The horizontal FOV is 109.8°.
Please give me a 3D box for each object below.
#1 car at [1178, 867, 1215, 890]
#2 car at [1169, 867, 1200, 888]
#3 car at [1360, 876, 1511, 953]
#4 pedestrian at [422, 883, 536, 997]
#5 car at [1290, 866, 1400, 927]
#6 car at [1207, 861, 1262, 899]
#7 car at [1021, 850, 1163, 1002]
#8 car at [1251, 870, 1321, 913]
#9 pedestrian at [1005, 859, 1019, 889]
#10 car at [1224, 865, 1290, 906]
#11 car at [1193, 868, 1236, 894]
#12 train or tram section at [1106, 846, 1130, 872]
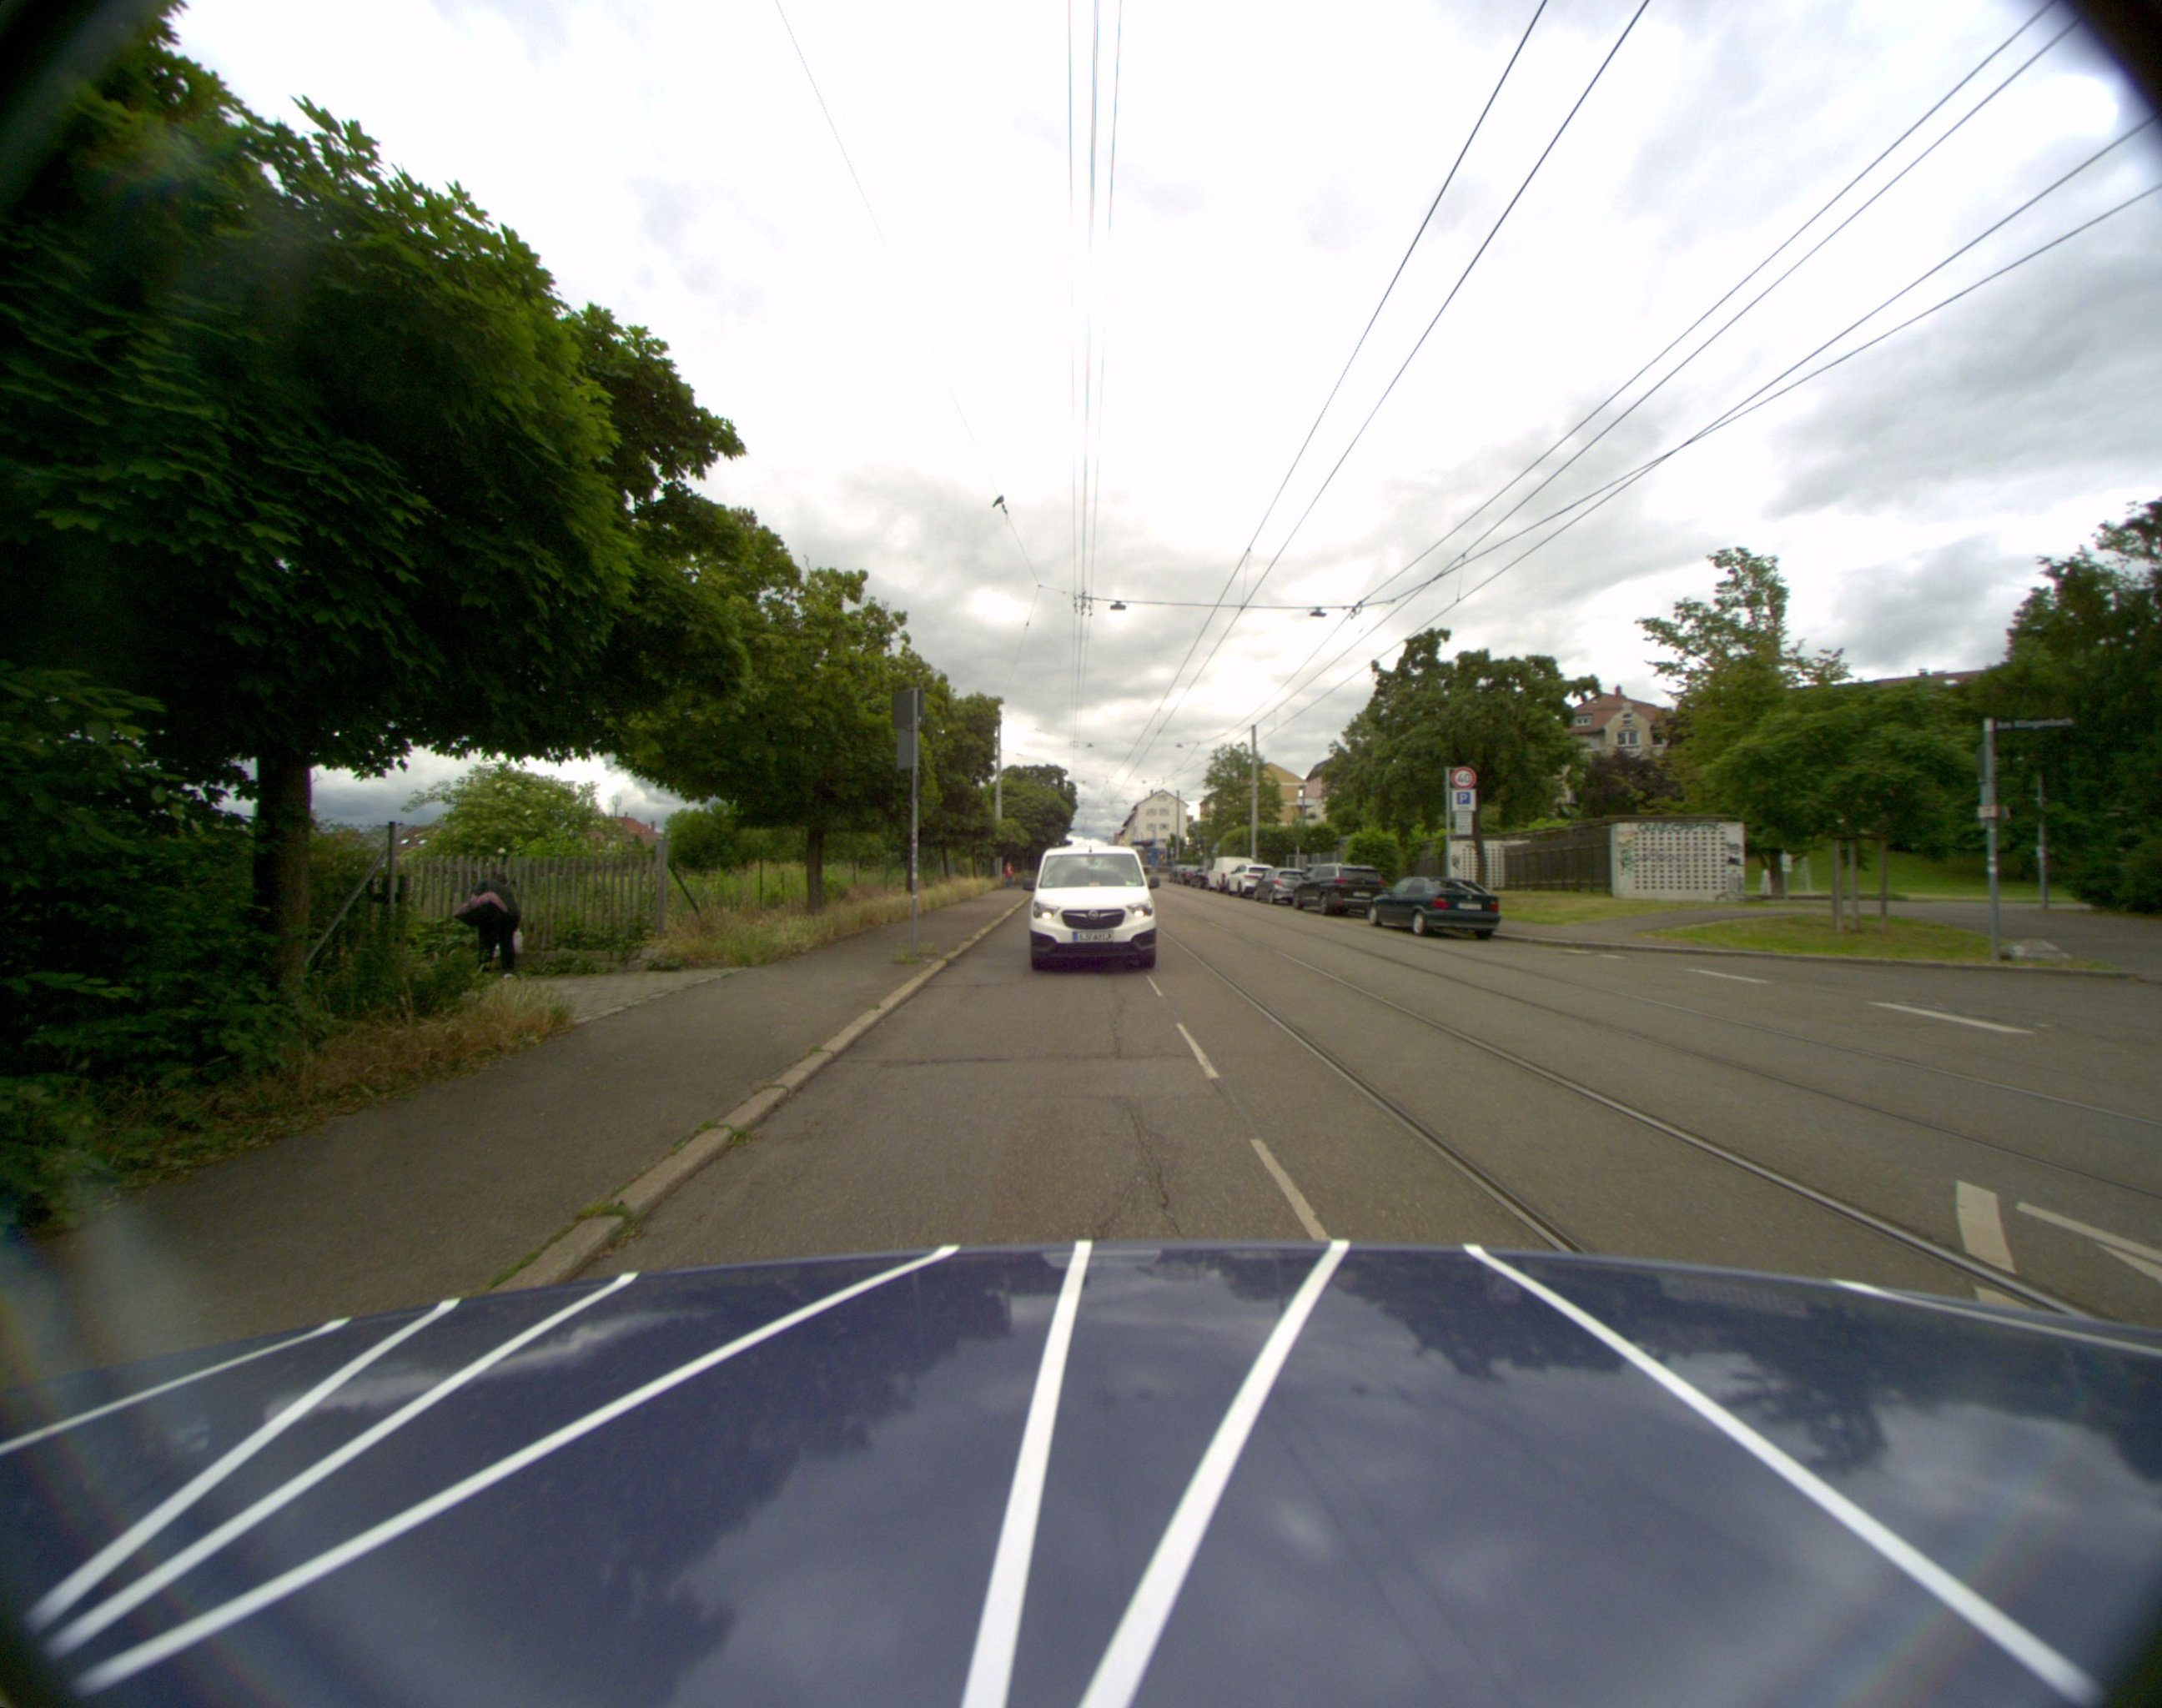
[{"bbox_3d":[8.212,1.710,54.434,1.845,1.379,4.439,1,1,-1],"label":"car"},{"bbox_3d":[8.171,1.824,60.174,1.794,1.396,4.160,1,1,-1],"label":"car"},{"bbox_3d":[8.432,1.364,18.524,1.625,1.469,4.155,1,1,-1],"label":"car"},{"bbox_3d":[-7.351,1.026,9.315,0.747,1.301,0.808,0,1,1],"label":"pedestrian"},{"bbox_3d":[8.527,1.318,25.010,1.974,1.677,4.443,1,1,-1],"label":"car"},{"bbox_3d":[8.471,1.387,42.305,1.974,1.902,4.733,1,1,-1],"label":"car"},{"bbox_3d":[0.173,0.894,11.529,1.730,1.850,4.421,0,0,1],"label":"car"},{"bbox_3d":[8.323,1.472,31.179,1.743,1.500,3.868,1,1,-1],"label":"car"},{"bbox_3d":[-3.819,1.102,42.056,0.716,1.611,0.718,0,1,0],"label":"pedestrian"},{"bbox_3d":[8.387,1.467,36.592,1.974,1.677,4.632,1,1,-1],"label":"car"},{"bbox_3d":[8.401,1.664,48.116,1.845,1.379,4.516,1,1,-1],"label":"car"},{"bbox_3d":[5.321,0.707,112.308,2.857,3.615,12.128,0,0,0],"label":"train or tram section"}]
